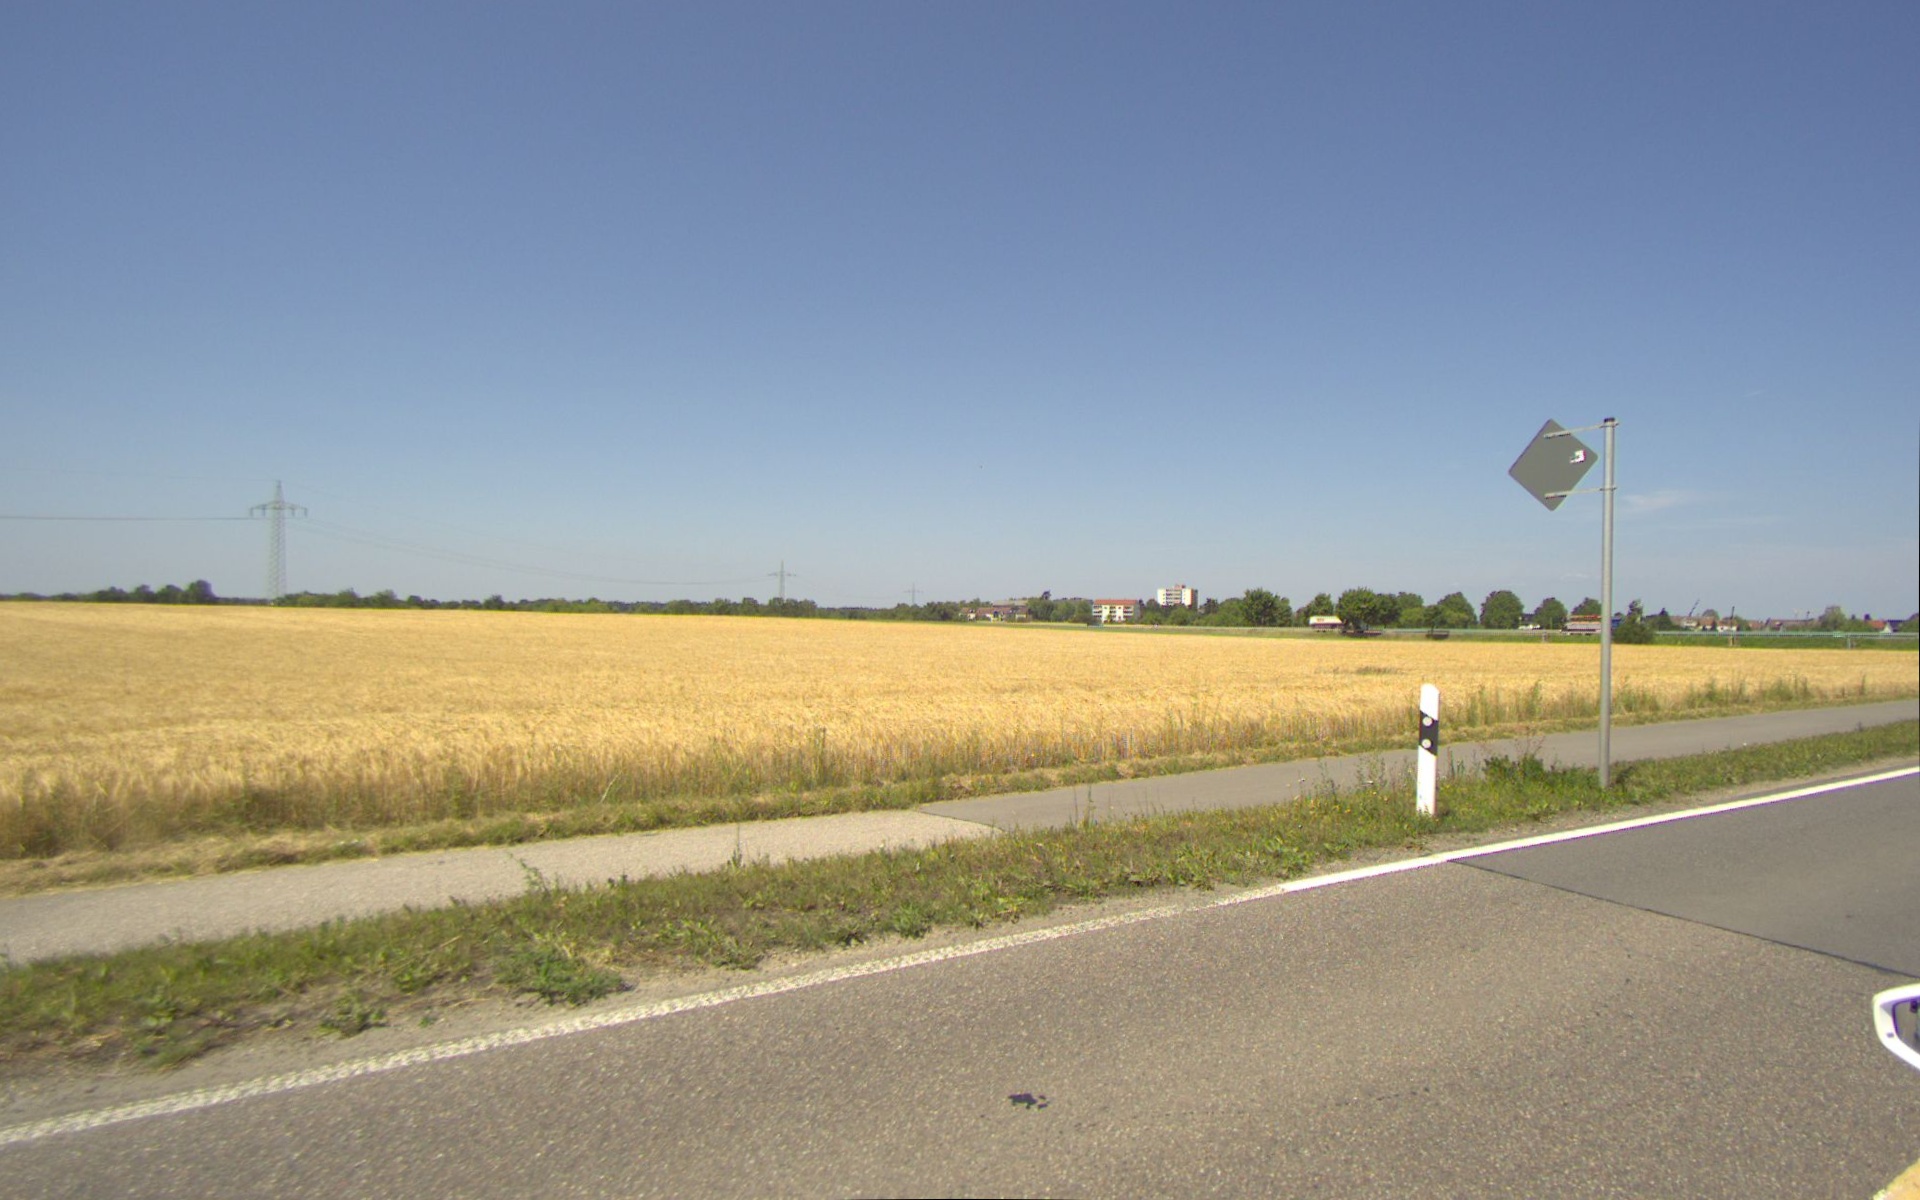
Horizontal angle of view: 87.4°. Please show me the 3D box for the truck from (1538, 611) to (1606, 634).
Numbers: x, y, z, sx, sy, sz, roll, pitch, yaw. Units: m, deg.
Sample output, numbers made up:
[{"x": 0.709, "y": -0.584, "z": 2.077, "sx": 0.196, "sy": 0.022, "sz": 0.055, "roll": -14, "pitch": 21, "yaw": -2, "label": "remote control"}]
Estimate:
[{"x": 108.864, "y": 3.923, "z": 178.775, "sx": 2.603, "sy": 3.844, "sz": 10.002, "roll": 1, "pitch": 0, "yaw": -38, "label": "truck"}]

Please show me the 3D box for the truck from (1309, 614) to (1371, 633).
[{"x": 79.685, "y": 4.907, "z": 210.724, "sx": 11.832, "sy": 3.663, "sz": 2.972, "roll": 1, "pitch": 0, "yaw": 36, "label": "truck"}]
